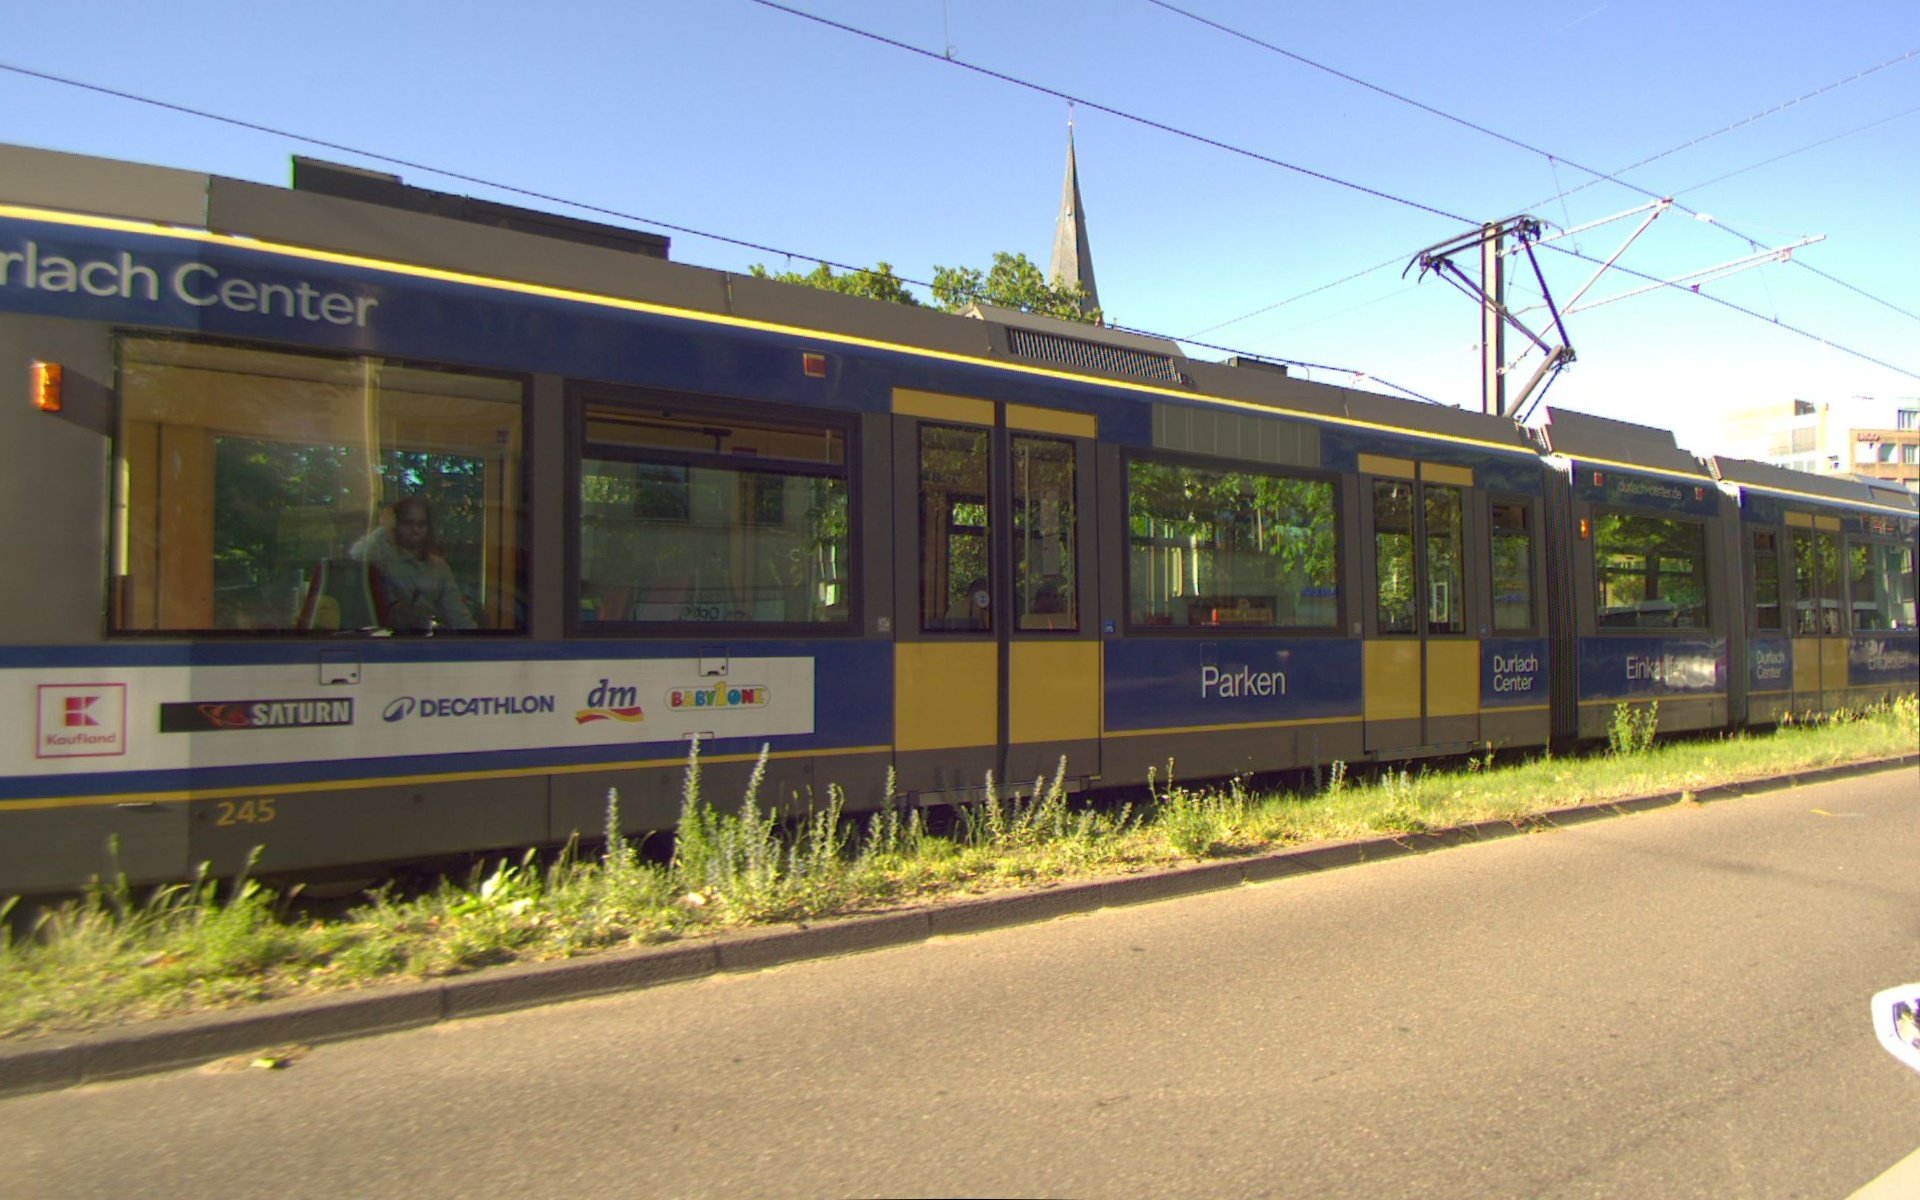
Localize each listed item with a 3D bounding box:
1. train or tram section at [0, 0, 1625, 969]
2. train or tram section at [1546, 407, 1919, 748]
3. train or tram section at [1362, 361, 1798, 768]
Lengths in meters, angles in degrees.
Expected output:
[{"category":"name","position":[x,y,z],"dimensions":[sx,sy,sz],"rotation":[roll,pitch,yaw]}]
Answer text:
[{"category":"train or tram section","position":[-0.319,-0.469,7.408],"dimensions":[14.110,3.863,2.914],"rotation":[1,0,-31]},{"category":"train or tram section","position":[13.672,-0.160,15.579],"dimensions":[10.673,3.949,2.939],"rotation":[1,0,-30]},{"category":"train or tram section","position":[7.327,-0.316,11.987],"dimensions":[3.821,3.949,2.941],"rotation":[1,0,-30]}]
